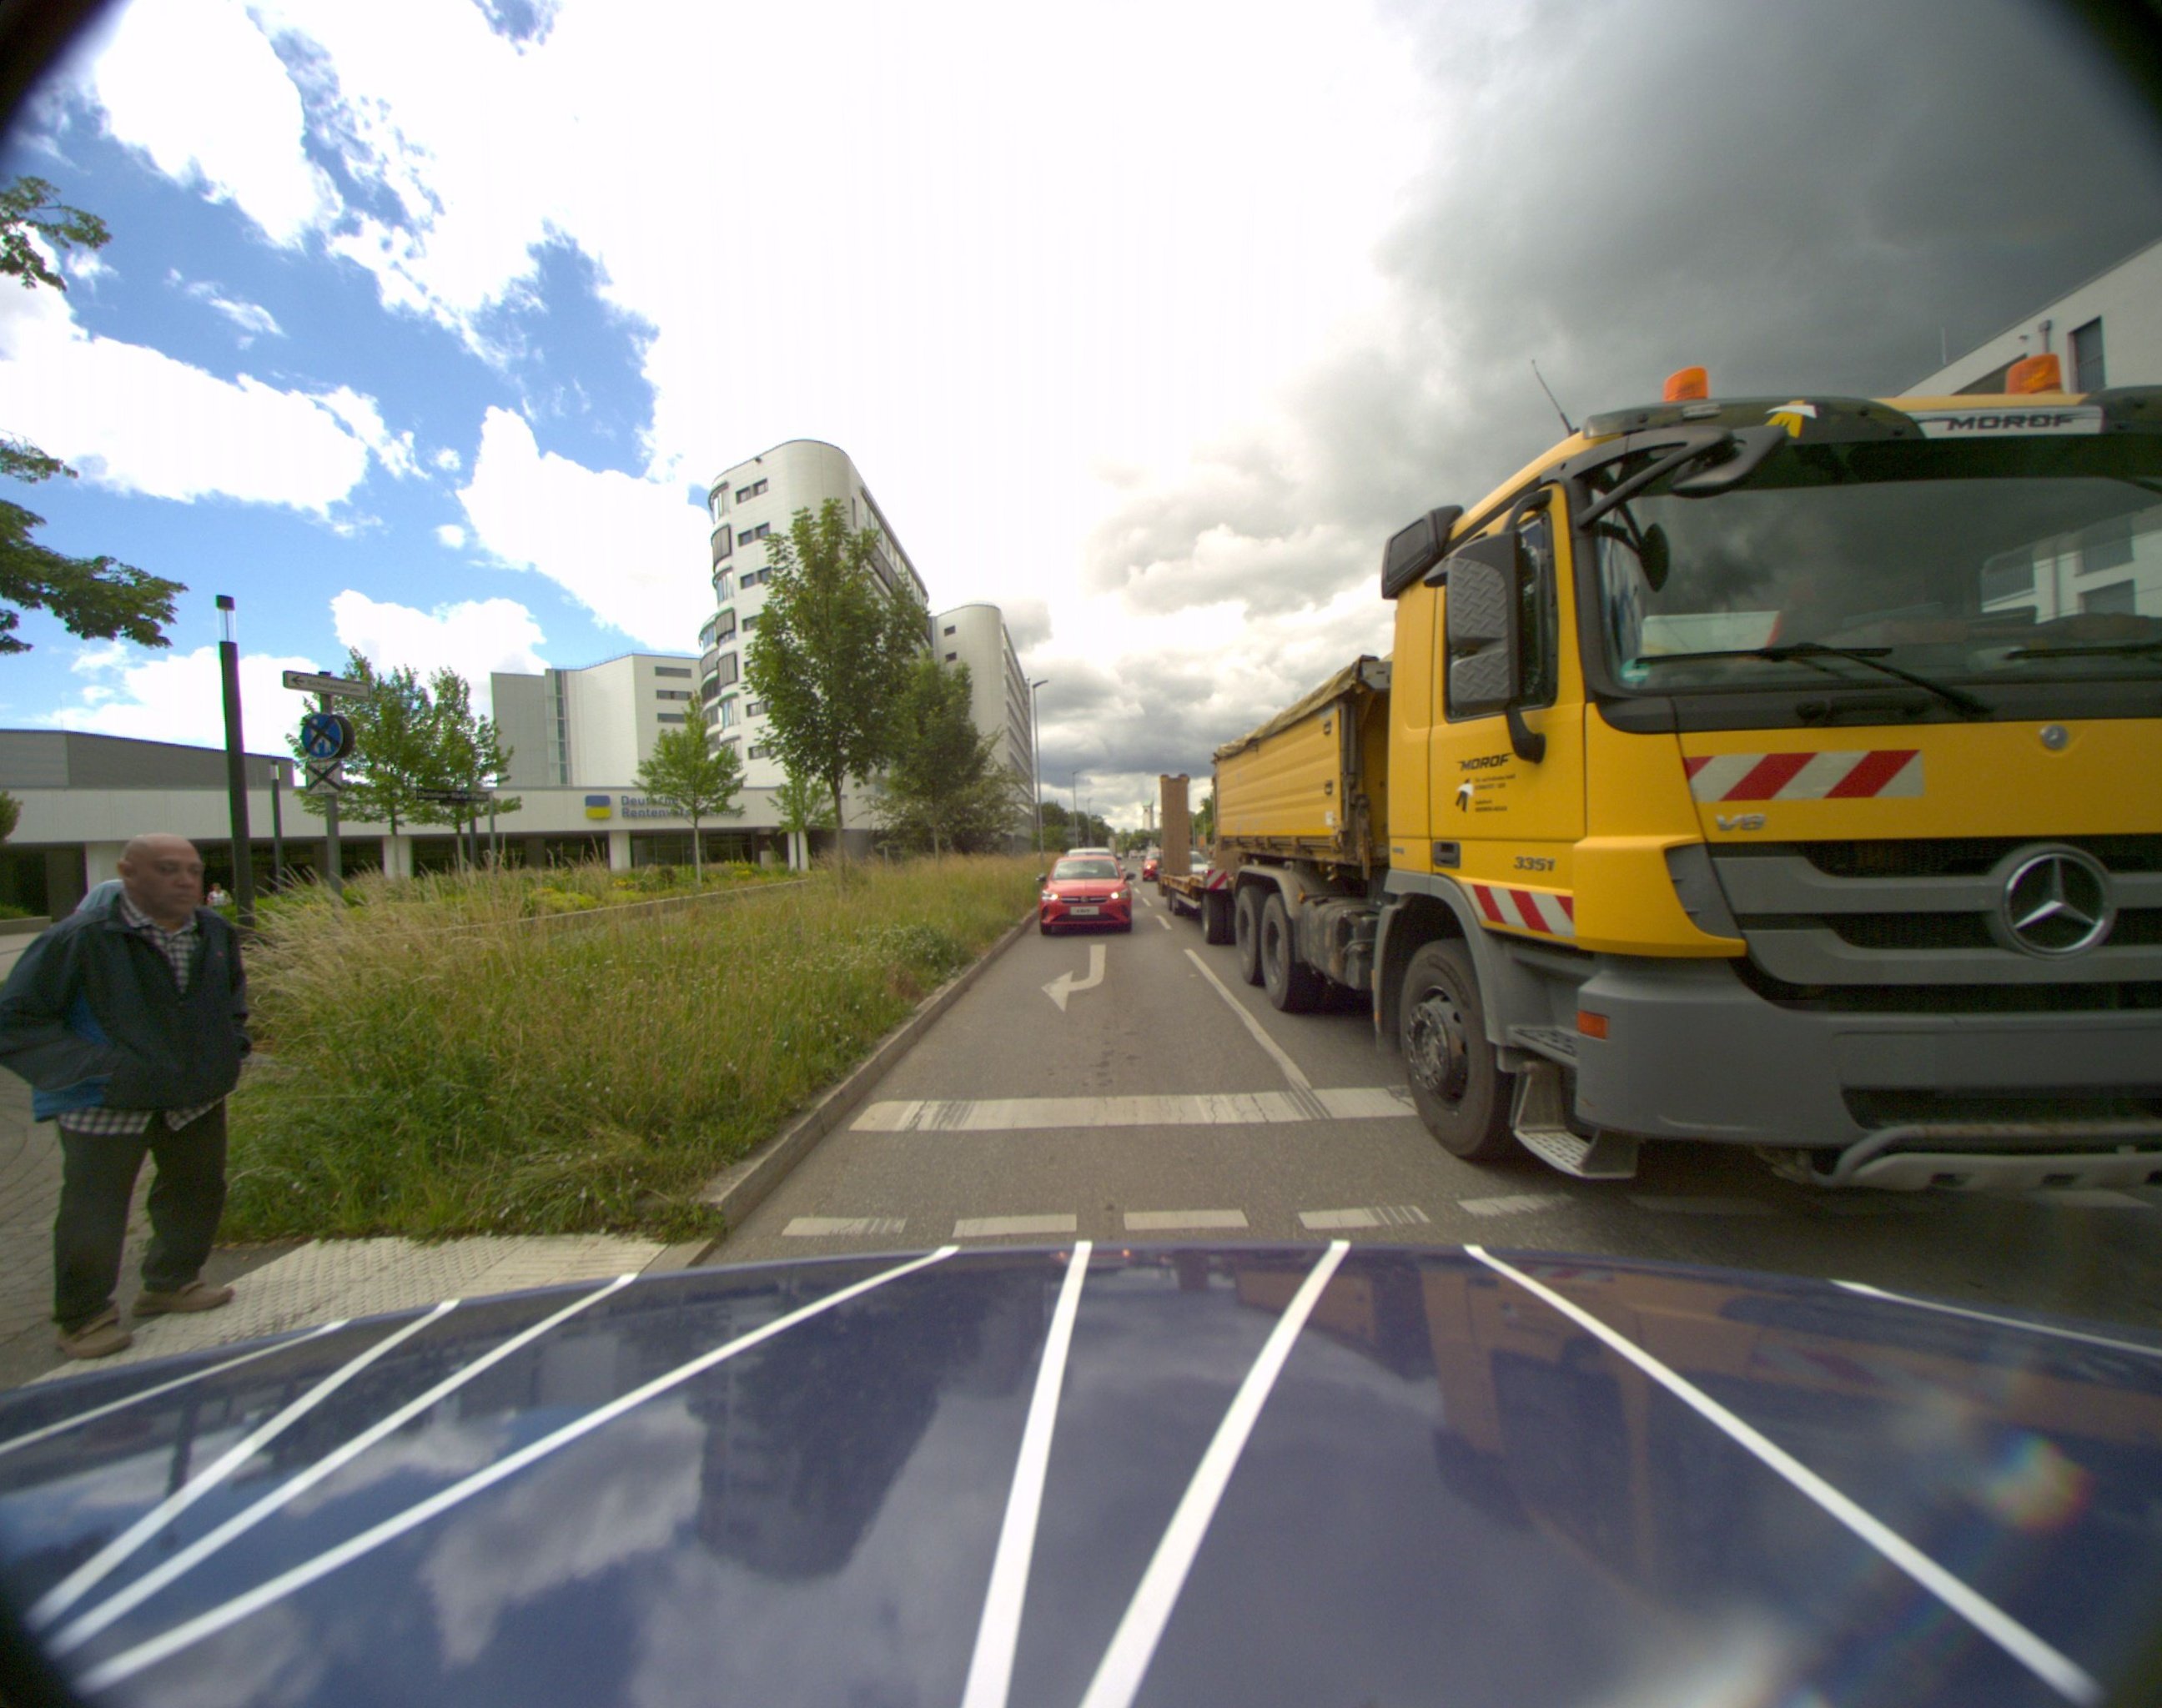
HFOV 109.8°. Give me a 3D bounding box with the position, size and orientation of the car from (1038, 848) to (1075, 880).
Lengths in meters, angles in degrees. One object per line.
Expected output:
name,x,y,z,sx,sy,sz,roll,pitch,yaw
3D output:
car,-1.244,0.494,40.414,1.738,1.565,3.445,-2,1,1

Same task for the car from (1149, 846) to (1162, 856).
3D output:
car,10.852,-0.472,111.235,1.704,1.449,3.566,-2,0,2

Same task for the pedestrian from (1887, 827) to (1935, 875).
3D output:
pedestrian,25.211,-0.088,23.089,0.715,1.401,0.671,-2,1,1

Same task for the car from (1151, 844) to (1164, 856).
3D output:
car,12.634,-0.652,125.638,1.887,1.761,4.864,-2,0,2

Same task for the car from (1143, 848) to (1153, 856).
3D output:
car,13.165,-0.441,148.937,1.644,1.489,3.554,-2,0,2

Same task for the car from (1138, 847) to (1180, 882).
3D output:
car,3.623,0.462,35.953,1.692,1.471,4.000,-2,1,2

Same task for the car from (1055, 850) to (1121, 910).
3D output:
car,0.231,0.692,22.305,1.738,1.565,3.445,-2,1,1

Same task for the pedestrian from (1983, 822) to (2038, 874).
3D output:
pedestrian,26.046,-0.164,21.295,0.715,1.401,0.671,-2,1,1

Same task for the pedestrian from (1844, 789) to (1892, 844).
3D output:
pedestrian,24.970,-1.178,24.117,0.715,1.677,0.765,-2,1,1

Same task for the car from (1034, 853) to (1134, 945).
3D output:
car,0.132,0.791,15.337,1.692,1.471,4.000,-2,1,2

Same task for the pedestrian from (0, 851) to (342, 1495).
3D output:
pedestrian,-3.216,0.874,2.403,0.955,1.730,0.728,-2,1,1

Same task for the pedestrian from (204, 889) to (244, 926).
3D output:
pedestrian,-31.397,1.937,27.852,0.887,1.266,0.703,-3,1,-45

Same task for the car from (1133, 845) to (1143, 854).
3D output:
car,13.038,-0.994,173.667,1.998,2.002,4.000,-2,1,2

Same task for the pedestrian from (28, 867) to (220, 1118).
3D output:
pedestrian,-7.451,1.012,5.936,0.692,1.780,0.730,-1,1,24

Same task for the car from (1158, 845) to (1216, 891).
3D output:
car,3.858,0.466,28.218,1.692,1.471,4.000,-2,1,2

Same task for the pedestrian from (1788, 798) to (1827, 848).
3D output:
pedestrian,29.974,-1.269,31.354,0.912,2.002,0.671,-2,1,1

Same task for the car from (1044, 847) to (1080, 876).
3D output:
car,-1.047,0.404,44.838,1.850,1.565,4.623,-2,0,1

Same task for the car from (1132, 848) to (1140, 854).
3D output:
car,14.245,-0.885,197.585,1.769,1.489,3.554,-2,0,2

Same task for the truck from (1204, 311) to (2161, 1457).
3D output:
truck,2.935,0.009,5.887,2.727,2.986,7.777,-2,1,1

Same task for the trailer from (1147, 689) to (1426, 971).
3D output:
trailer,3.108,-0.355,15.189,2.713,3.501,10.913,-2,1,1
